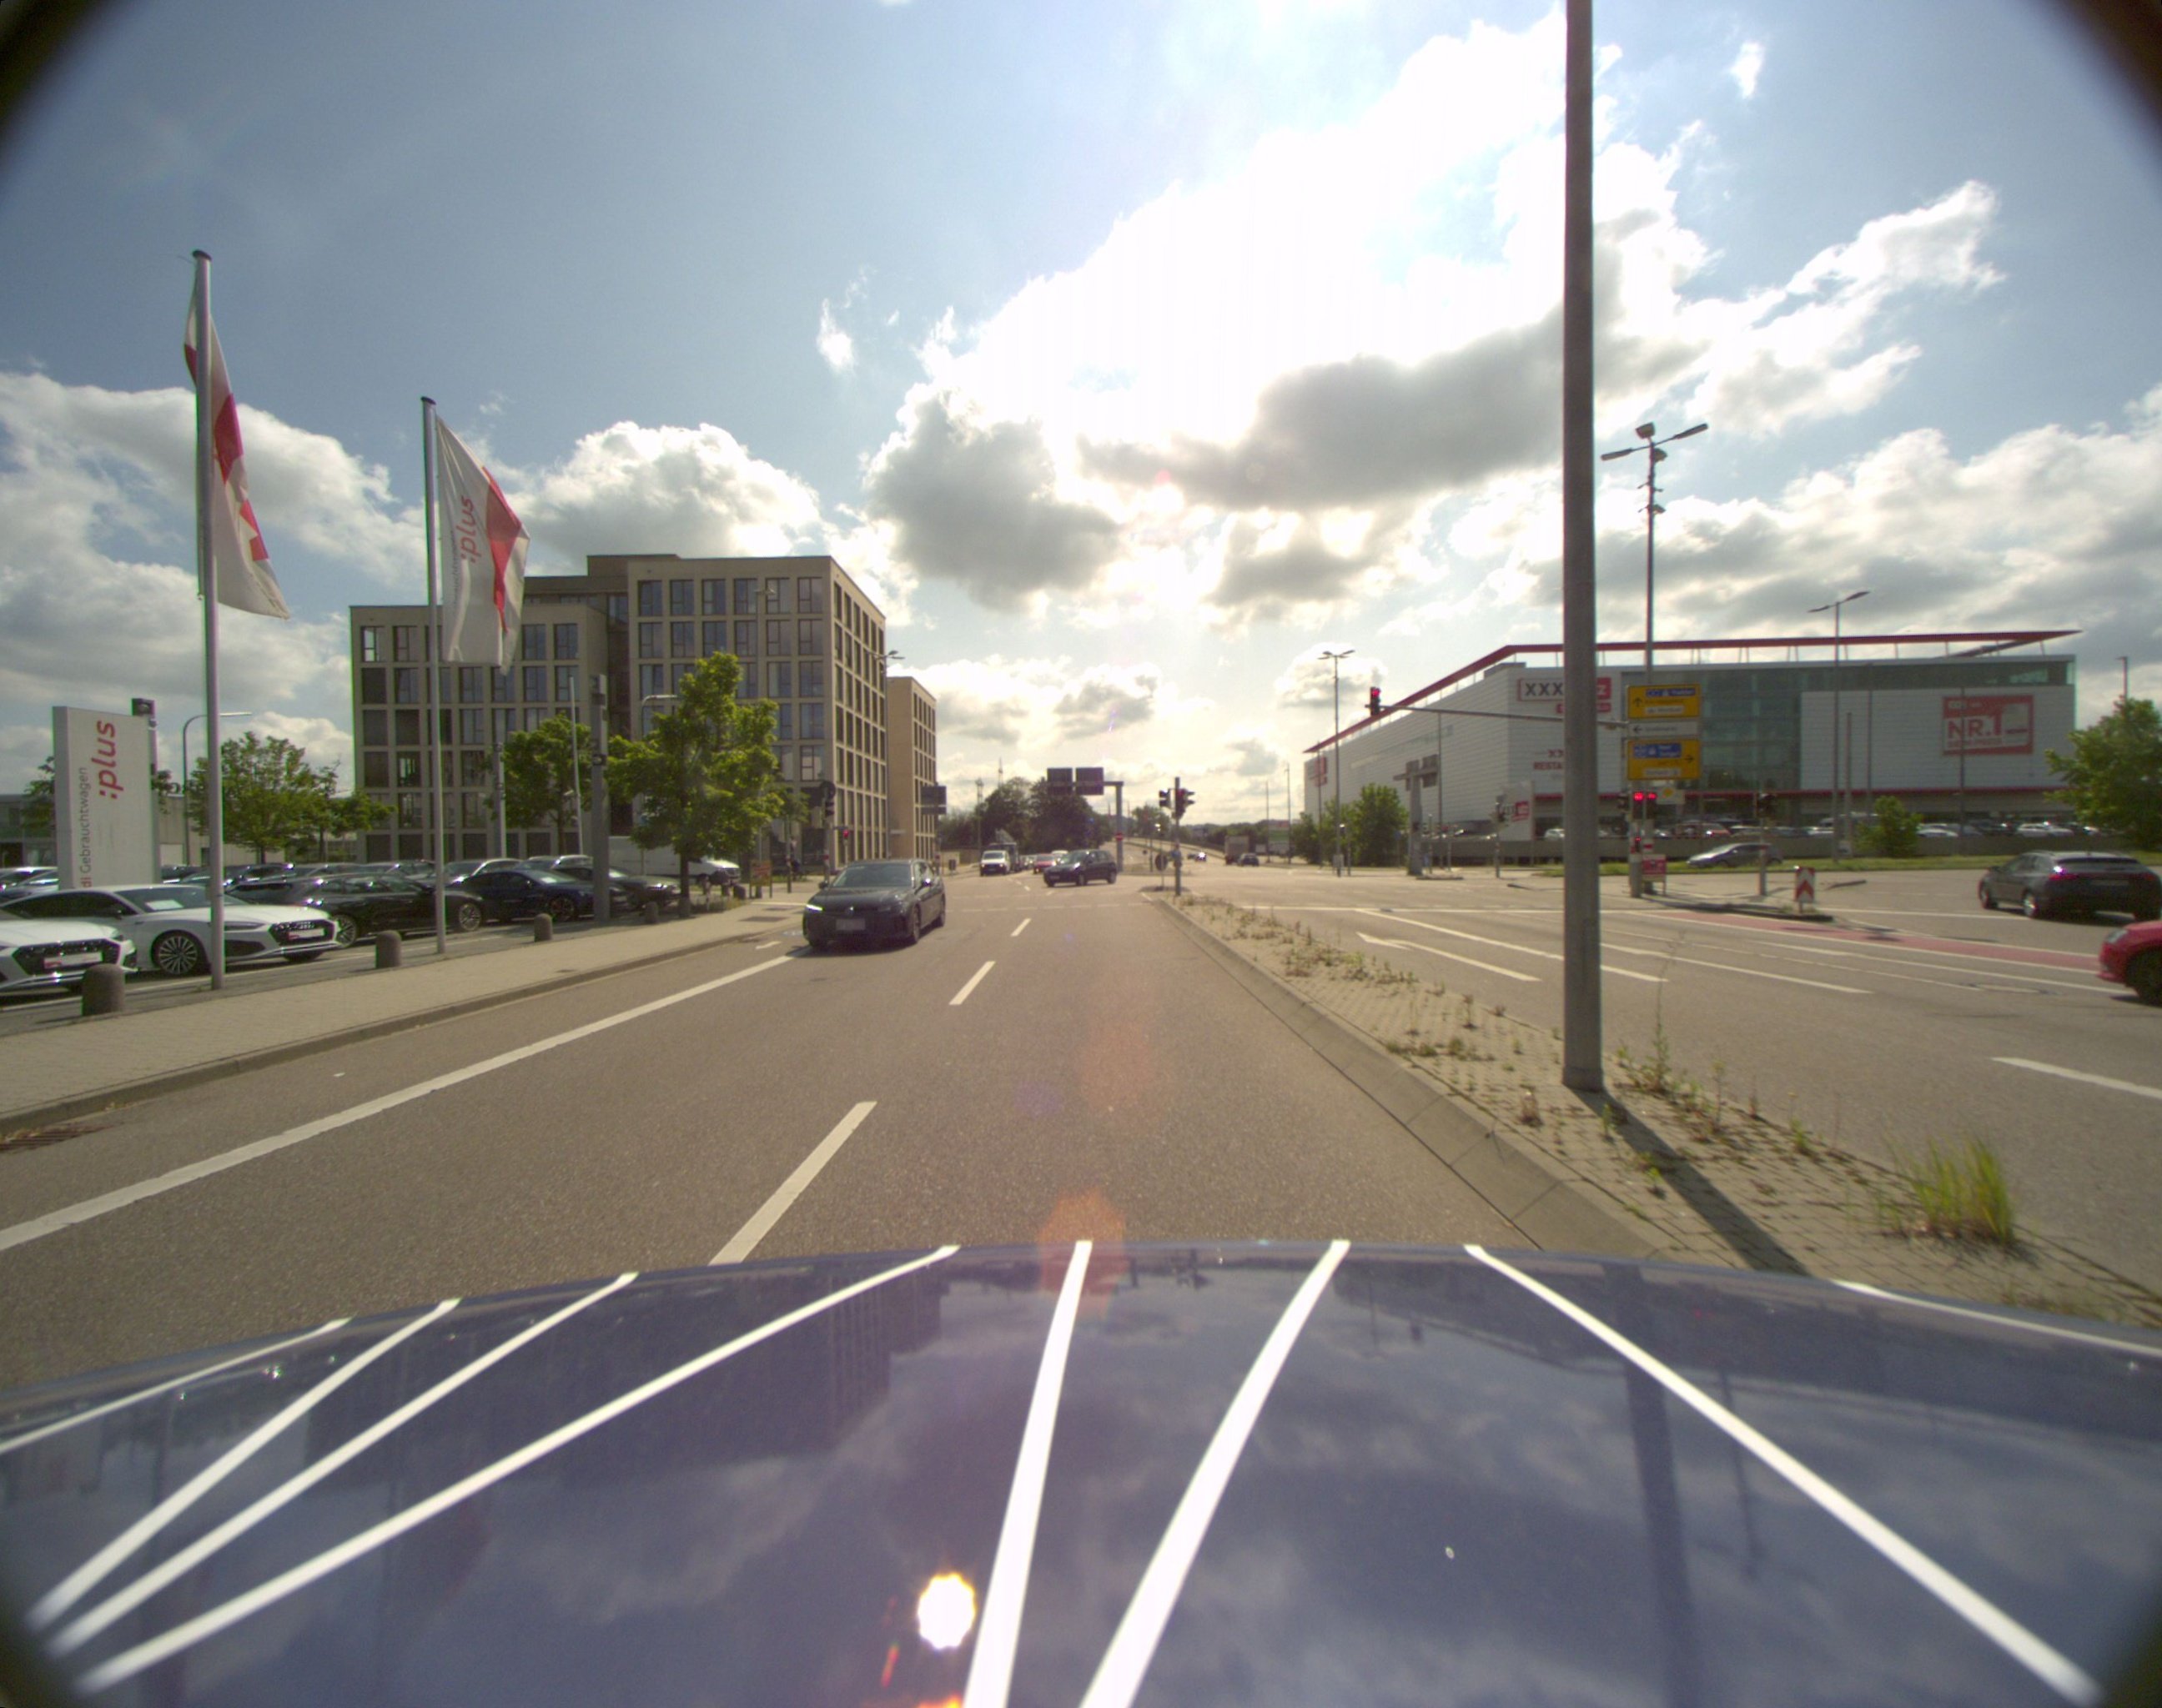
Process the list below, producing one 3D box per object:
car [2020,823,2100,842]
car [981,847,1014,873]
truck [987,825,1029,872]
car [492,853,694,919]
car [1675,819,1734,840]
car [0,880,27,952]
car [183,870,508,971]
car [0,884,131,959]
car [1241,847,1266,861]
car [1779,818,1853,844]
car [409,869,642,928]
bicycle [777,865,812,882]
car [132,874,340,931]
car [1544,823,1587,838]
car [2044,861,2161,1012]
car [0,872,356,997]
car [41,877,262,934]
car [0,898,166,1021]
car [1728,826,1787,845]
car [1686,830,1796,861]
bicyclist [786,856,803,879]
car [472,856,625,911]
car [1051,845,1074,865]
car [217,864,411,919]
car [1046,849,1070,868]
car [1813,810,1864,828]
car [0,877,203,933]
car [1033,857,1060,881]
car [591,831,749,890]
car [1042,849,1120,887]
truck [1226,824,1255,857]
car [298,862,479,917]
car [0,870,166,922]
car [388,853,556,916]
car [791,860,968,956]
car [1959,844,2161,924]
[{"bbox_3d":[92.339,-2.023,71.732,1.953,1.596,4.425,-2,0,4],"label":"car"},{"bbox_3d":[-6.211,0.482,56.718,1.999,1.827,4.992,-2,-1,-2],"label":"car"},{"bbox_3d":[-6.047,-0.342,64.302,2.673,3.533,9.783,-2,-1,-2],"label":"truck"},{"bbox_3d":[-14.056,0.913,22.087,4.586,1.668,1.907,-2,-1,1],"label":"car"},{"bbox_3d":[60.125,-2.334,73.385,1.916,1.739,4.186,-2,-1,-9],"label":"car"},{"bbox_3d":[-26.799,1.487,16.305,1.999,1.730,4.553,-2,-1,-1],"label":"car"},{"bbox_3d":[-14.551,1.211,15.555,1.794,1.455,4.756,-4,1,2],"label":"car"},{"bbox_3d":[-24.077,1.572,16.001,1.983,1.502,4.756,-4,1,2],"label":"car"},{"bbox_3d":[18.823,-0.034,82.795,1.775,1.469,4.686,-2,0,23],"label":"car"},{"bbox_3d":[72.302,-2.244,74.908,1.748,2.269,5.800,-2,-1,2],"label":"car"},{"bbox_3d":[-14.184,1.117,19.598,4.586,1.289,1.907,-2,-1,1],"label":"car"},{"bbox_3d":[-18.520,1.264,49.104,1.978,1.005,0.649,-2,-1,-10],"label":"bicycle"},{"bbox_3d":[-28.945,1.597,26.302,1.905,1.668,4.591,-2,-1,2],"label":"car"},{"bbox_3d":[53.936,-2.581,84.682,1.953,1.462,4.424,-2,0,2],"label":"car"},{"bbox_3d":[11.480,0.850,6.319,1.690,1.474,4.125,1,1,1],"label":"car"},{"bbox_3d":[-14.017,1.183,11.636,3.997,1.455,1.796,-4,1,1],"label":"car"},{"bbox_3d":[-31.858,1.684,26.308,1.905,1.668,4.591,-2,-1,2],"label":"car"},{"bbox_3d":[-14.234,1.289,8.956,4.586,1.289,1.907,-2,-1,1],"label":"car"},{"bbox_3d":[65.434,-1.767,73.637,1.953,1.596,4.425,-2,0,4],"label":"car"},{"bbox_3d":[34.773,-0.422,40.118,4.265,1.521,1.608,-1,1,4],"label":"car"},{"bbox_3d":[-18.506,0.877,49.112,0.916,1.468,0.638,-2,0,-10],"label":"bicyclist"},{"bbox_3d":[-18.293,0.967,26.422,1.905,1.668,4.591,-2,-1,2],"label":"car"},{"bbox_3d":[-1.788,0.113,74.470,1.826,1.827,4.448,-2,-1,4],"label":"car"},{"bbox_3d":[-26.229,1.225,26.255,1.905,1.668,4.591,-2,-1,2],"label":"car"},{"bbox_3d":[-2.039,0.413,68.712,1.826,1.617,4.213,-2,-1,2],"label":"car"},{"bbox_3d":[86.989,-4.046,87.310,1.914,1.739,4.002,-2,-1,4],"label":"car"},{"bbox_3d":[-34.439,1.714,26.603,1.905,1.668,4.591,-2,-1,2],"label":"car"},{"bbox_3d":[-2.484,1.081,55.804,1.827,1.617,4.212,-2,-1,-2],"label":"car"},{"bbox_3d":[-20.257,0.345,37.557,6.854,2.591,2.141,-2,-1,7],"label":"car"},{"bbox_3d":[0.081,0.575,32.670,1.603,1.521,4.278,1,0,27],"label":"car"},{"bbox_3d":[20.969,-1.661,100.278,3.218,4.003,9.078,-2,-1,10],"label":"truck"},{"bbox_3d":[-23.712,1.160,26.321,1.905,1.668,4.591,-2,-1,2],"label":"car"},{"bbox_3d":[-36.700,1.470,27.331,1.905,1.668,4.591,-2,-1,2],"label":"car"},{"bbox_3d":[-20.913,0.981,26.422,1.905,1.669,4.587,-2,4,2],"label":"car"},{"bbox_3d":[-3.601,0.886,14.693,1.812,1.469,5.205,-2,0,2],"label":"car"},{"bbox_3d":[22.352,0.585,17.526,1.891,1.546,4.596,0,1,38],"label":"car"}]
